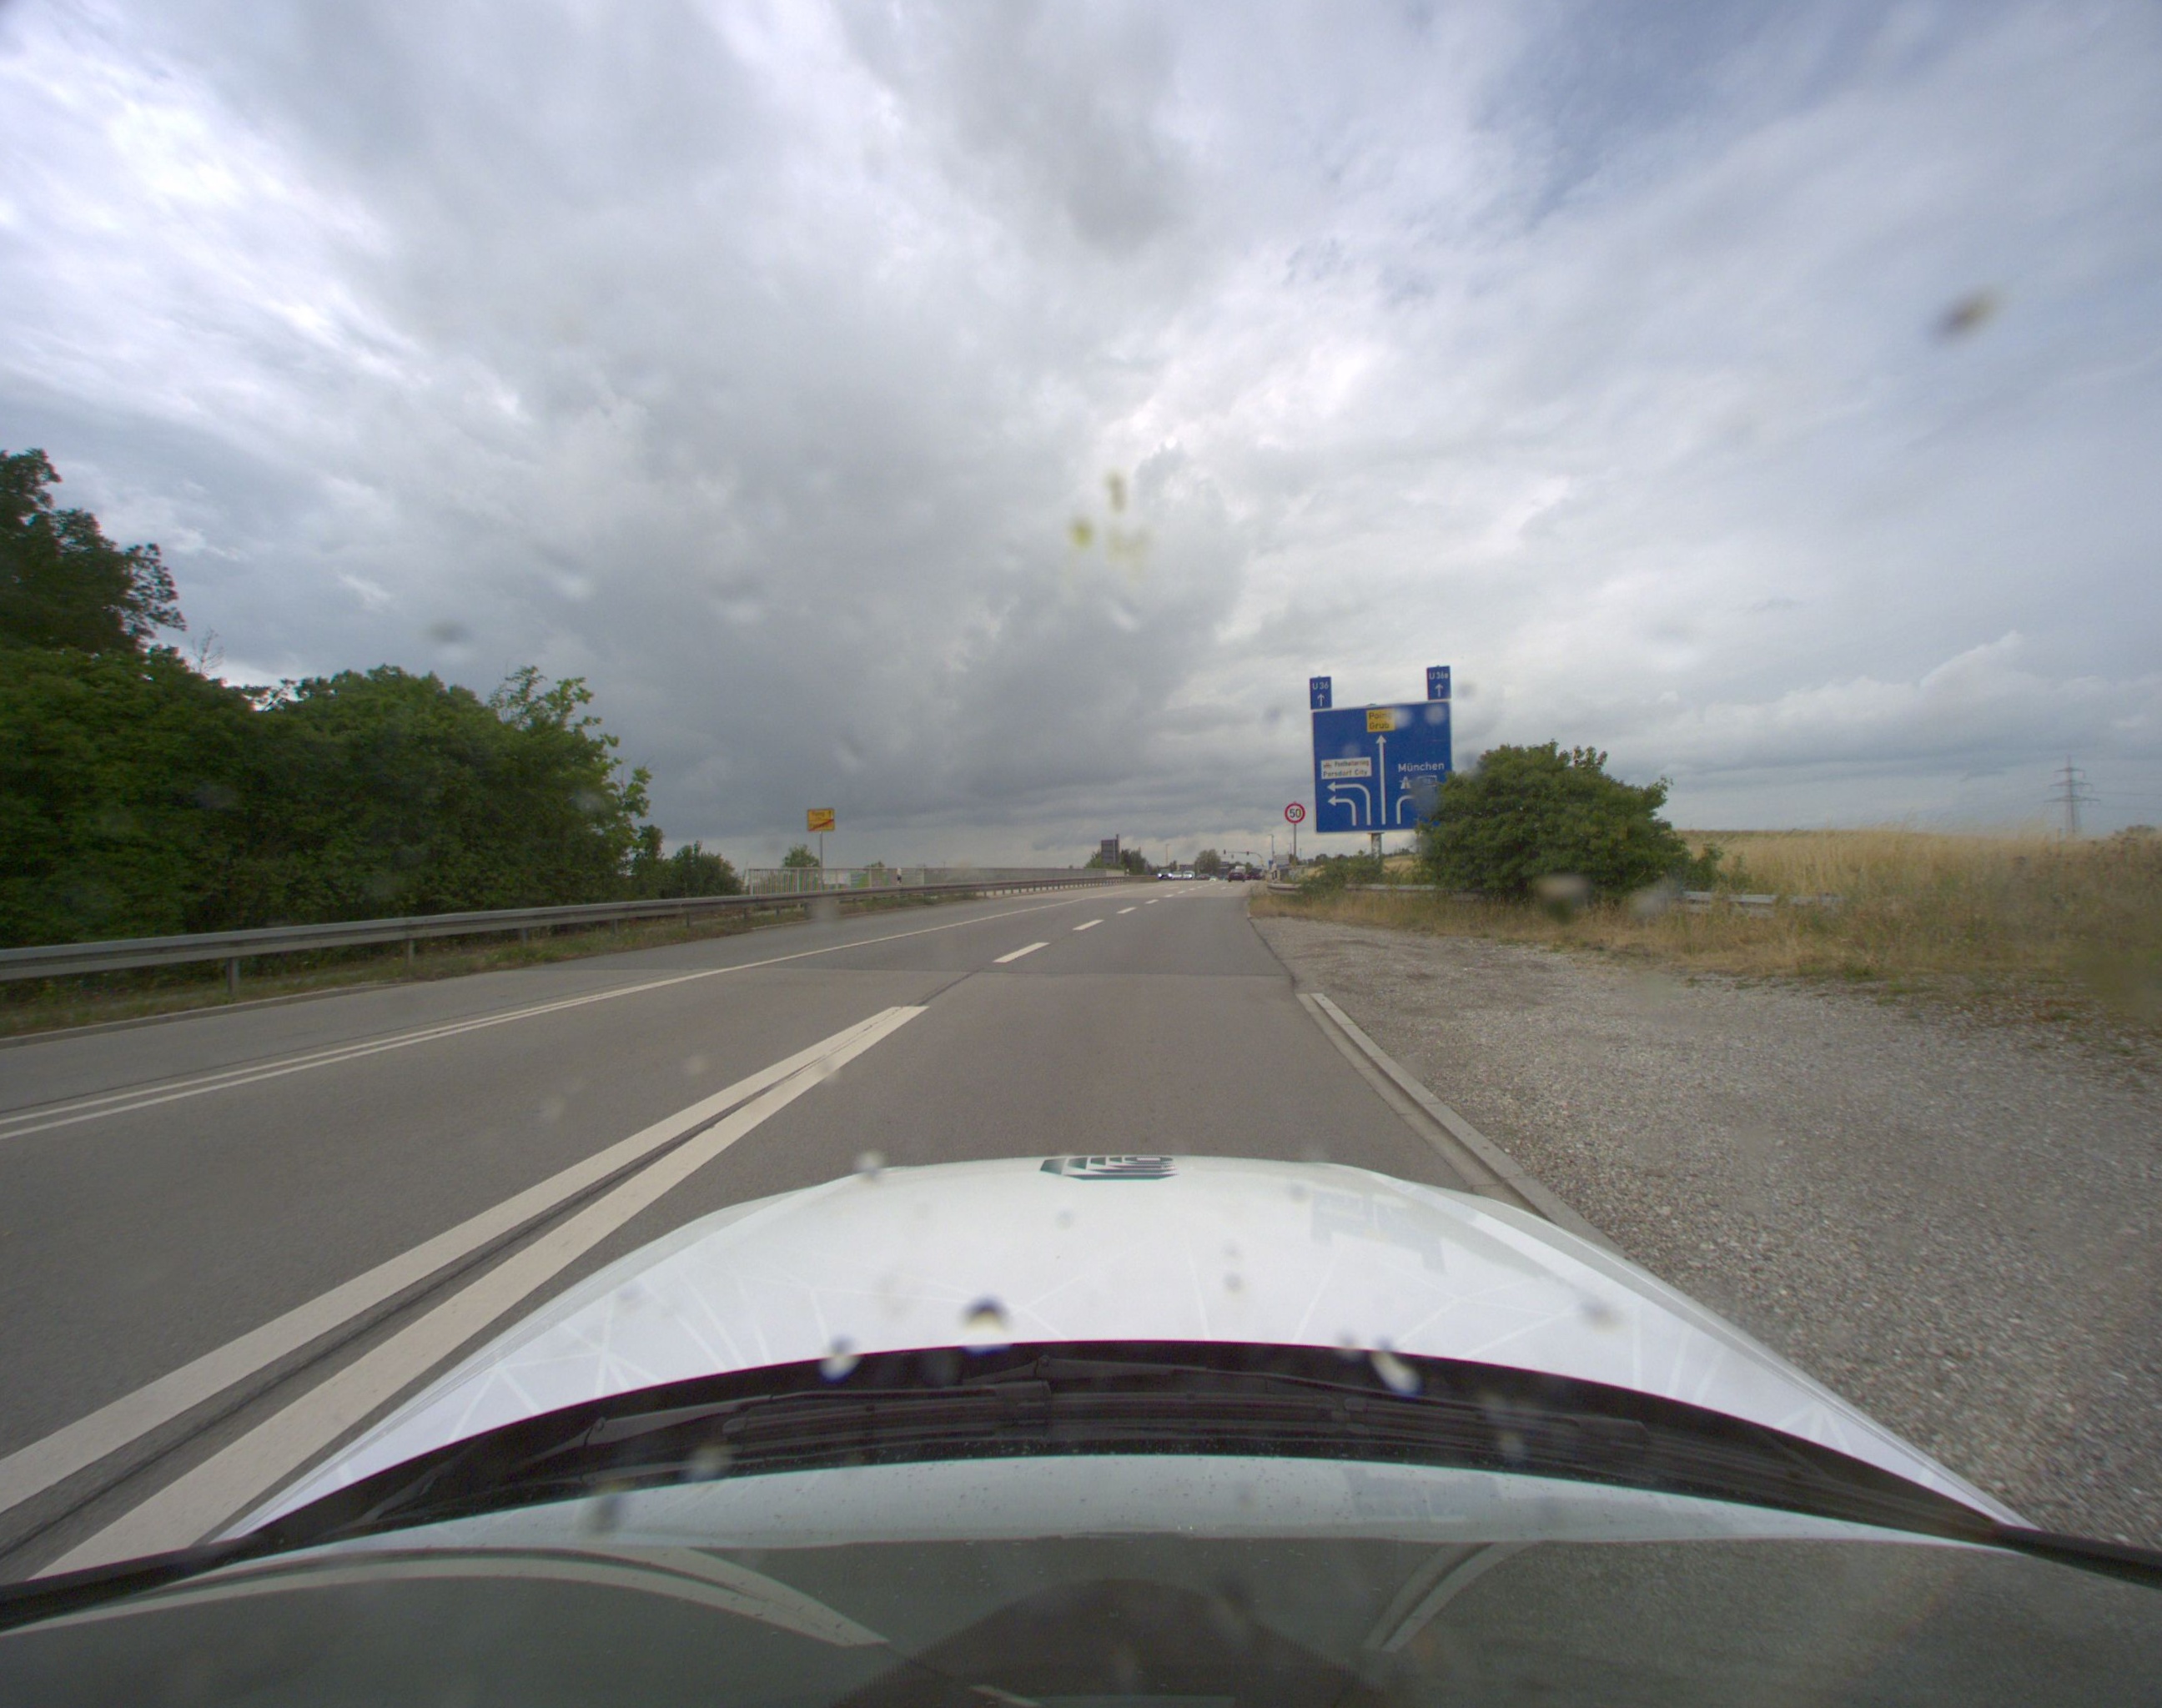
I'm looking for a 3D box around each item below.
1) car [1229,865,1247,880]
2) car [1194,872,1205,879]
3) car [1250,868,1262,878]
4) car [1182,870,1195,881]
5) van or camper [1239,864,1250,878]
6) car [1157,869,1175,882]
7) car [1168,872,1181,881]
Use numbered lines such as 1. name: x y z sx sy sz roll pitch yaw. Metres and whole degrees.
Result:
1. car: 16.353 1.926 84.710 1.506 1.486 3.631 -1 -2 17
2. car: 25.179 4.622 172.901 1.569 1.558 4.167 -1 -2 21
3. car: 28.039 2.983 130.462 1.668 1.544 3.631 -1 -2 17
4. car: 20.808 4.159 157.126 1.939 1.875 4.838 -2 -1 14
5. van or camper: 30.569 3.132 151.977 1.863 2.581 4.014 0 -2 13
6. car: 13.103 3.268 124.866 1.979 1.732 4.780 -2 -1 15
7. car: 15.981 3.845 139.021 1.699 1.487 4.295 -2 -1 14
